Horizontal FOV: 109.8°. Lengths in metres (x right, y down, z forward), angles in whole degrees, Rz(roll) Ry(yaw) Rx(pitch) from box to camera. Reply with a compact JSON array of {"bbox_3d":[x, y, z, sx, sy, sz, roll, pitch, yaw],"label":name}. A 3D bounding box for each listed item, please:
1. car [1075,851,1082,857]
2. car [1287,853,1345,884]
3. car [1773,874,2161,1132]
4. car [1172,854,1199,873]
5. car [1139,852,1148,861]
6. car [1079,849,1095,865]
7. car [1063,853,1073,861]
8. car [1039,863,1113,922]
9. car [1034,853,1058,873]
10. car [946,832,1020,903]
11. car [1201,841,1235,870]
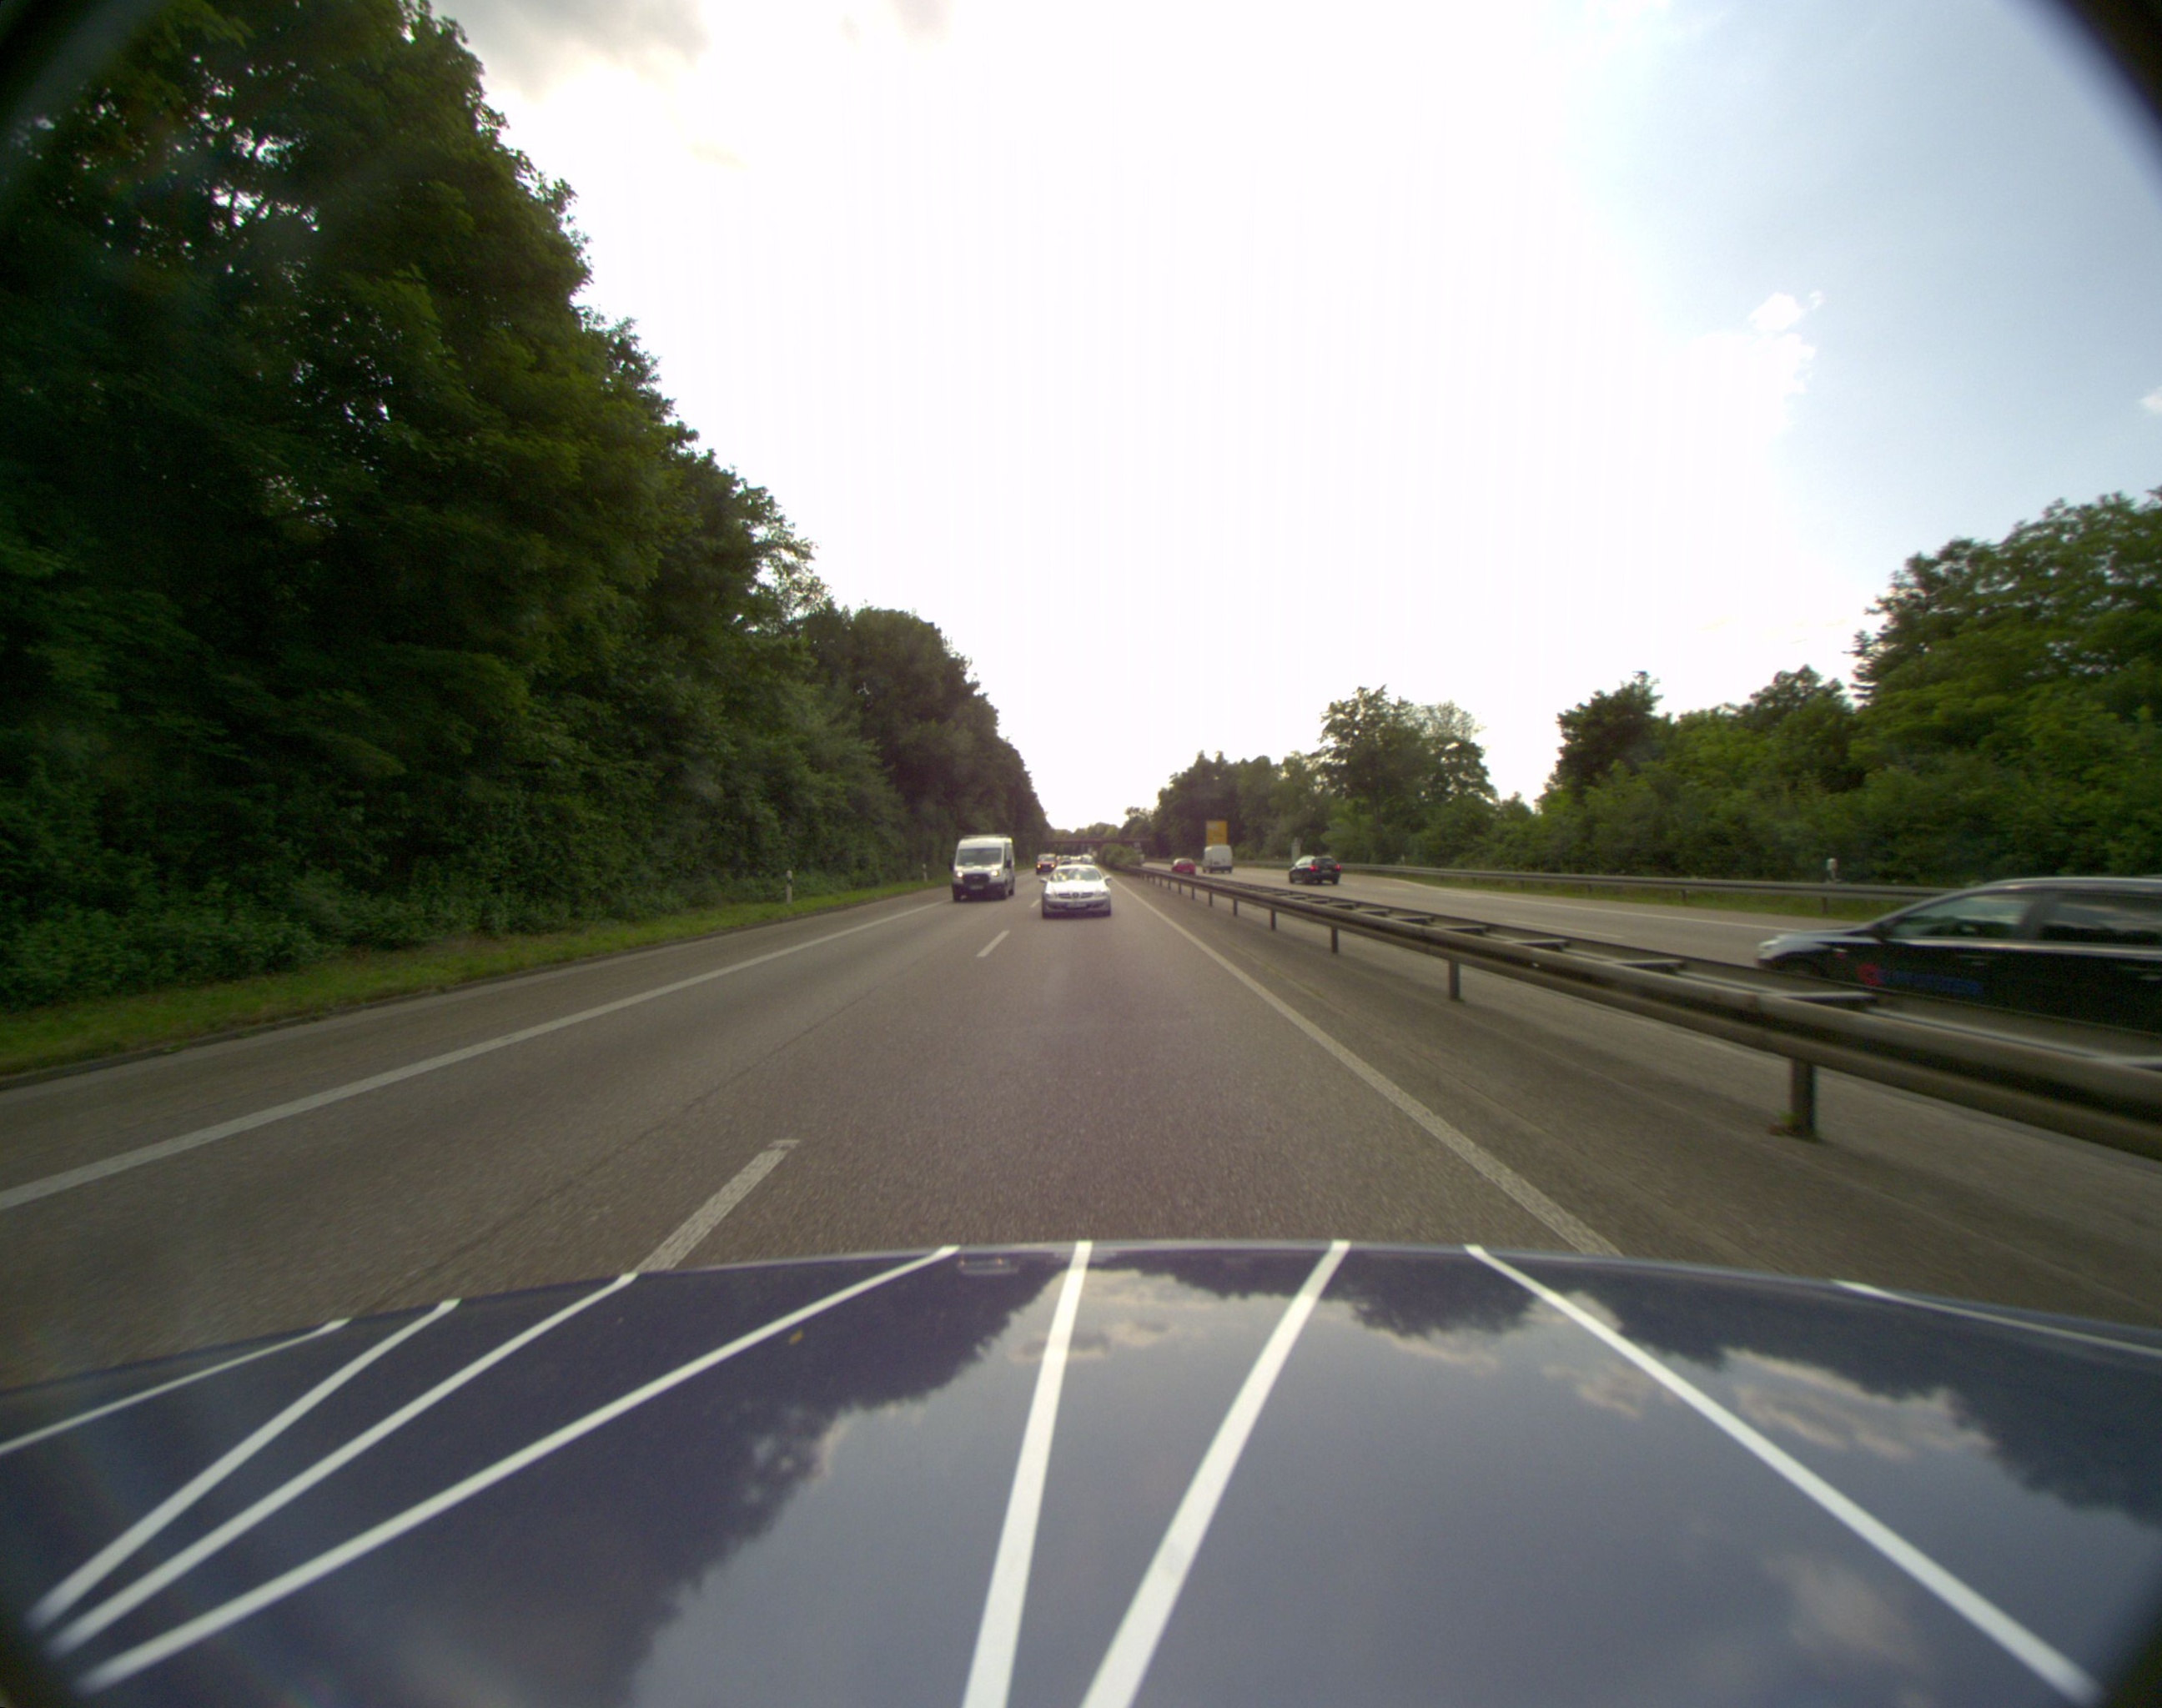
[{"bbox_3d":[-0.803,-0.017,237.975,1.998,2.002,4.000,-1,0,0],"label":"car"},{"bbox_3d":[12.653,0.737,41.151,1.790,1.469,4.569,-2,0,1],"label":"car"},{"bbox_3d":[7.623,0.967,5.261,1.785,1.510,4.266,-1,0,0],"label":"car"},{"bbox_3d":[8.484,0.768,61.997,1.682,1.446,4.127,-2,0,1],"label":"car"},{"bbox_3d":[13.923,0.462,169.074,1.867,1.937,4.000,-1,0,1],"label":"car"},{"bbox_3d":[0.771,0.359,94.755,1.998,2.002,4.000,-1,0,1],"label":"car"},{"bbox_3d":[-2.384,0.583,140.638,1.889,1.516,4.000,-1,0,0],"label":"car"},{"bbox_3d":[-0.133,0.977,21.303,1.751,1.295,5.223,-2,0,0],"label":"car"},{"bbox_3d":[-3.297,0.806,71.709,1.908,1.795,4.395,-2,0,1],"label":"car"},{"bbox_3d":[-3.794,0.476,30.354,2.104,2.493,5.278,-2,0,0],"label":"car"},{"bbox_3d":[12.570,0.119,70.081,2.116,2.409,5.830,-2,0,1],"label":"car"}]
